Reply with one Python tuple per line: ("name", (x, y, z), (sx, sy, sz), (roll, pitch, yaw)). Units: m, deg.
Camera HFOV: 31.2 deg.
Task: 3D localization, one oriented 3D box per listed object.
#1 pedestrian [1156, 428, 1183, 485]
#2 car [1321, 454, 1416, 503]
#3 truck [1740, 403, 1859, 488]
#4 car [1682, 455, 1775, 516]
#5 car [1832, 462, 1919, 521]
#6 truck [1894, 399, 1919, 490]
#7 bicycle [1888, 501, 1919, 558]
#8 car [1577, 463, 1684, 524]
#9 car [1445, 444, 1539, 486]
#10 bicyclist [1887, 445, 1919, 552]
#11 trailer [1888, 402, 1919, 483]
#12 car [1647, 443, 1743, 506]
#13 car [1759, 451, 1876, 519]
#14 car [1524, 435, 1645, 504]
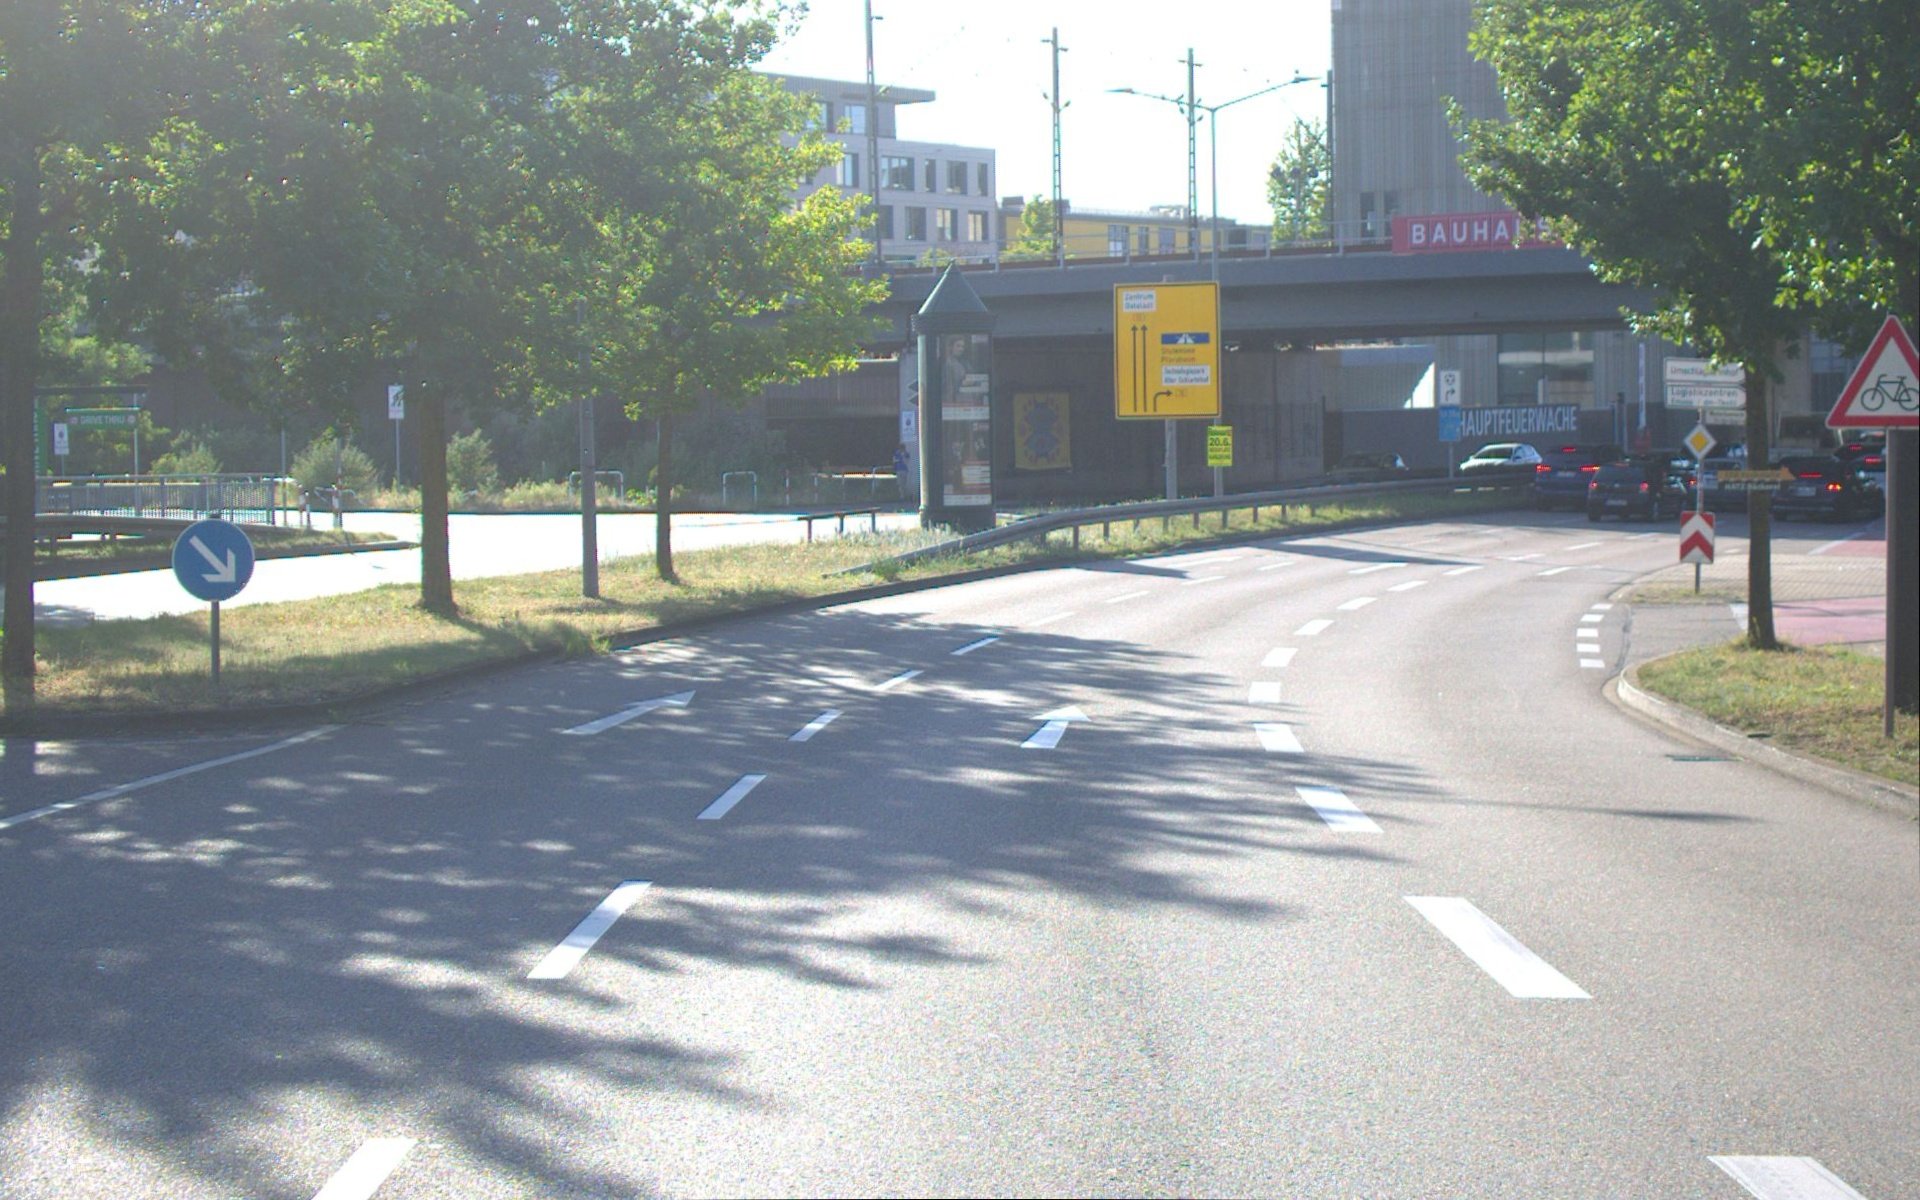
("pedestrian", (7.058, -4.845, 115.829), (0.695, 1.897, 0.664), (2, 3, 32))
("car", (12.397, -3.676, 104.224), (1.743, 1.457, 3.761), (1, 2, 26))
("truck", (26.009, -4.788, 106.342), (2.031, 2.547, 5.528), (2, 3, 30))
("car", (19.933, -2.975, 89.138), (1.549, 1.418, 3.413), (-2, 2, 26))
("car", (24.270, -2.857, 90.173), (1.775, 1.490, 3.826), (0, 2, 29))
("truck", (28.055, -4.381, 97.348), (2.115, 2.511, 4.394), (1, 2, 29))
("bicycle", (17.112, -1.279, 62.097), (0.579, 0.960, 2.885), (1, 3, 13))
("car", (16.136, -2.582, 82.658), (1.584, 1.403, 3.827), (2, 3, 26))
("car", (18.824, -4.778, 121.518), (1.676, 1.457, 4.097), (2, 2, 35))
("bicyclist", (17.089, -1.835, 61.971), (0.682, 1.900, 0.833), (1, 3, 14))
("trailer", (30.260, -4.893, 106.554), (1.867, 2.456, 3.825), (0, 2, 31))
("car", (21.413, -3.656, 100.044), (1.843, 1.713, 3.995), (-2, 1, 25))
("car", (20.983, -2.833, 84.023), (1.743, 1.449, 4.600), (2, 5, 27))
("car", (16.153, -3.385, 88.794), (1.832, 1.732, 4.455), (1, 3, 27))
